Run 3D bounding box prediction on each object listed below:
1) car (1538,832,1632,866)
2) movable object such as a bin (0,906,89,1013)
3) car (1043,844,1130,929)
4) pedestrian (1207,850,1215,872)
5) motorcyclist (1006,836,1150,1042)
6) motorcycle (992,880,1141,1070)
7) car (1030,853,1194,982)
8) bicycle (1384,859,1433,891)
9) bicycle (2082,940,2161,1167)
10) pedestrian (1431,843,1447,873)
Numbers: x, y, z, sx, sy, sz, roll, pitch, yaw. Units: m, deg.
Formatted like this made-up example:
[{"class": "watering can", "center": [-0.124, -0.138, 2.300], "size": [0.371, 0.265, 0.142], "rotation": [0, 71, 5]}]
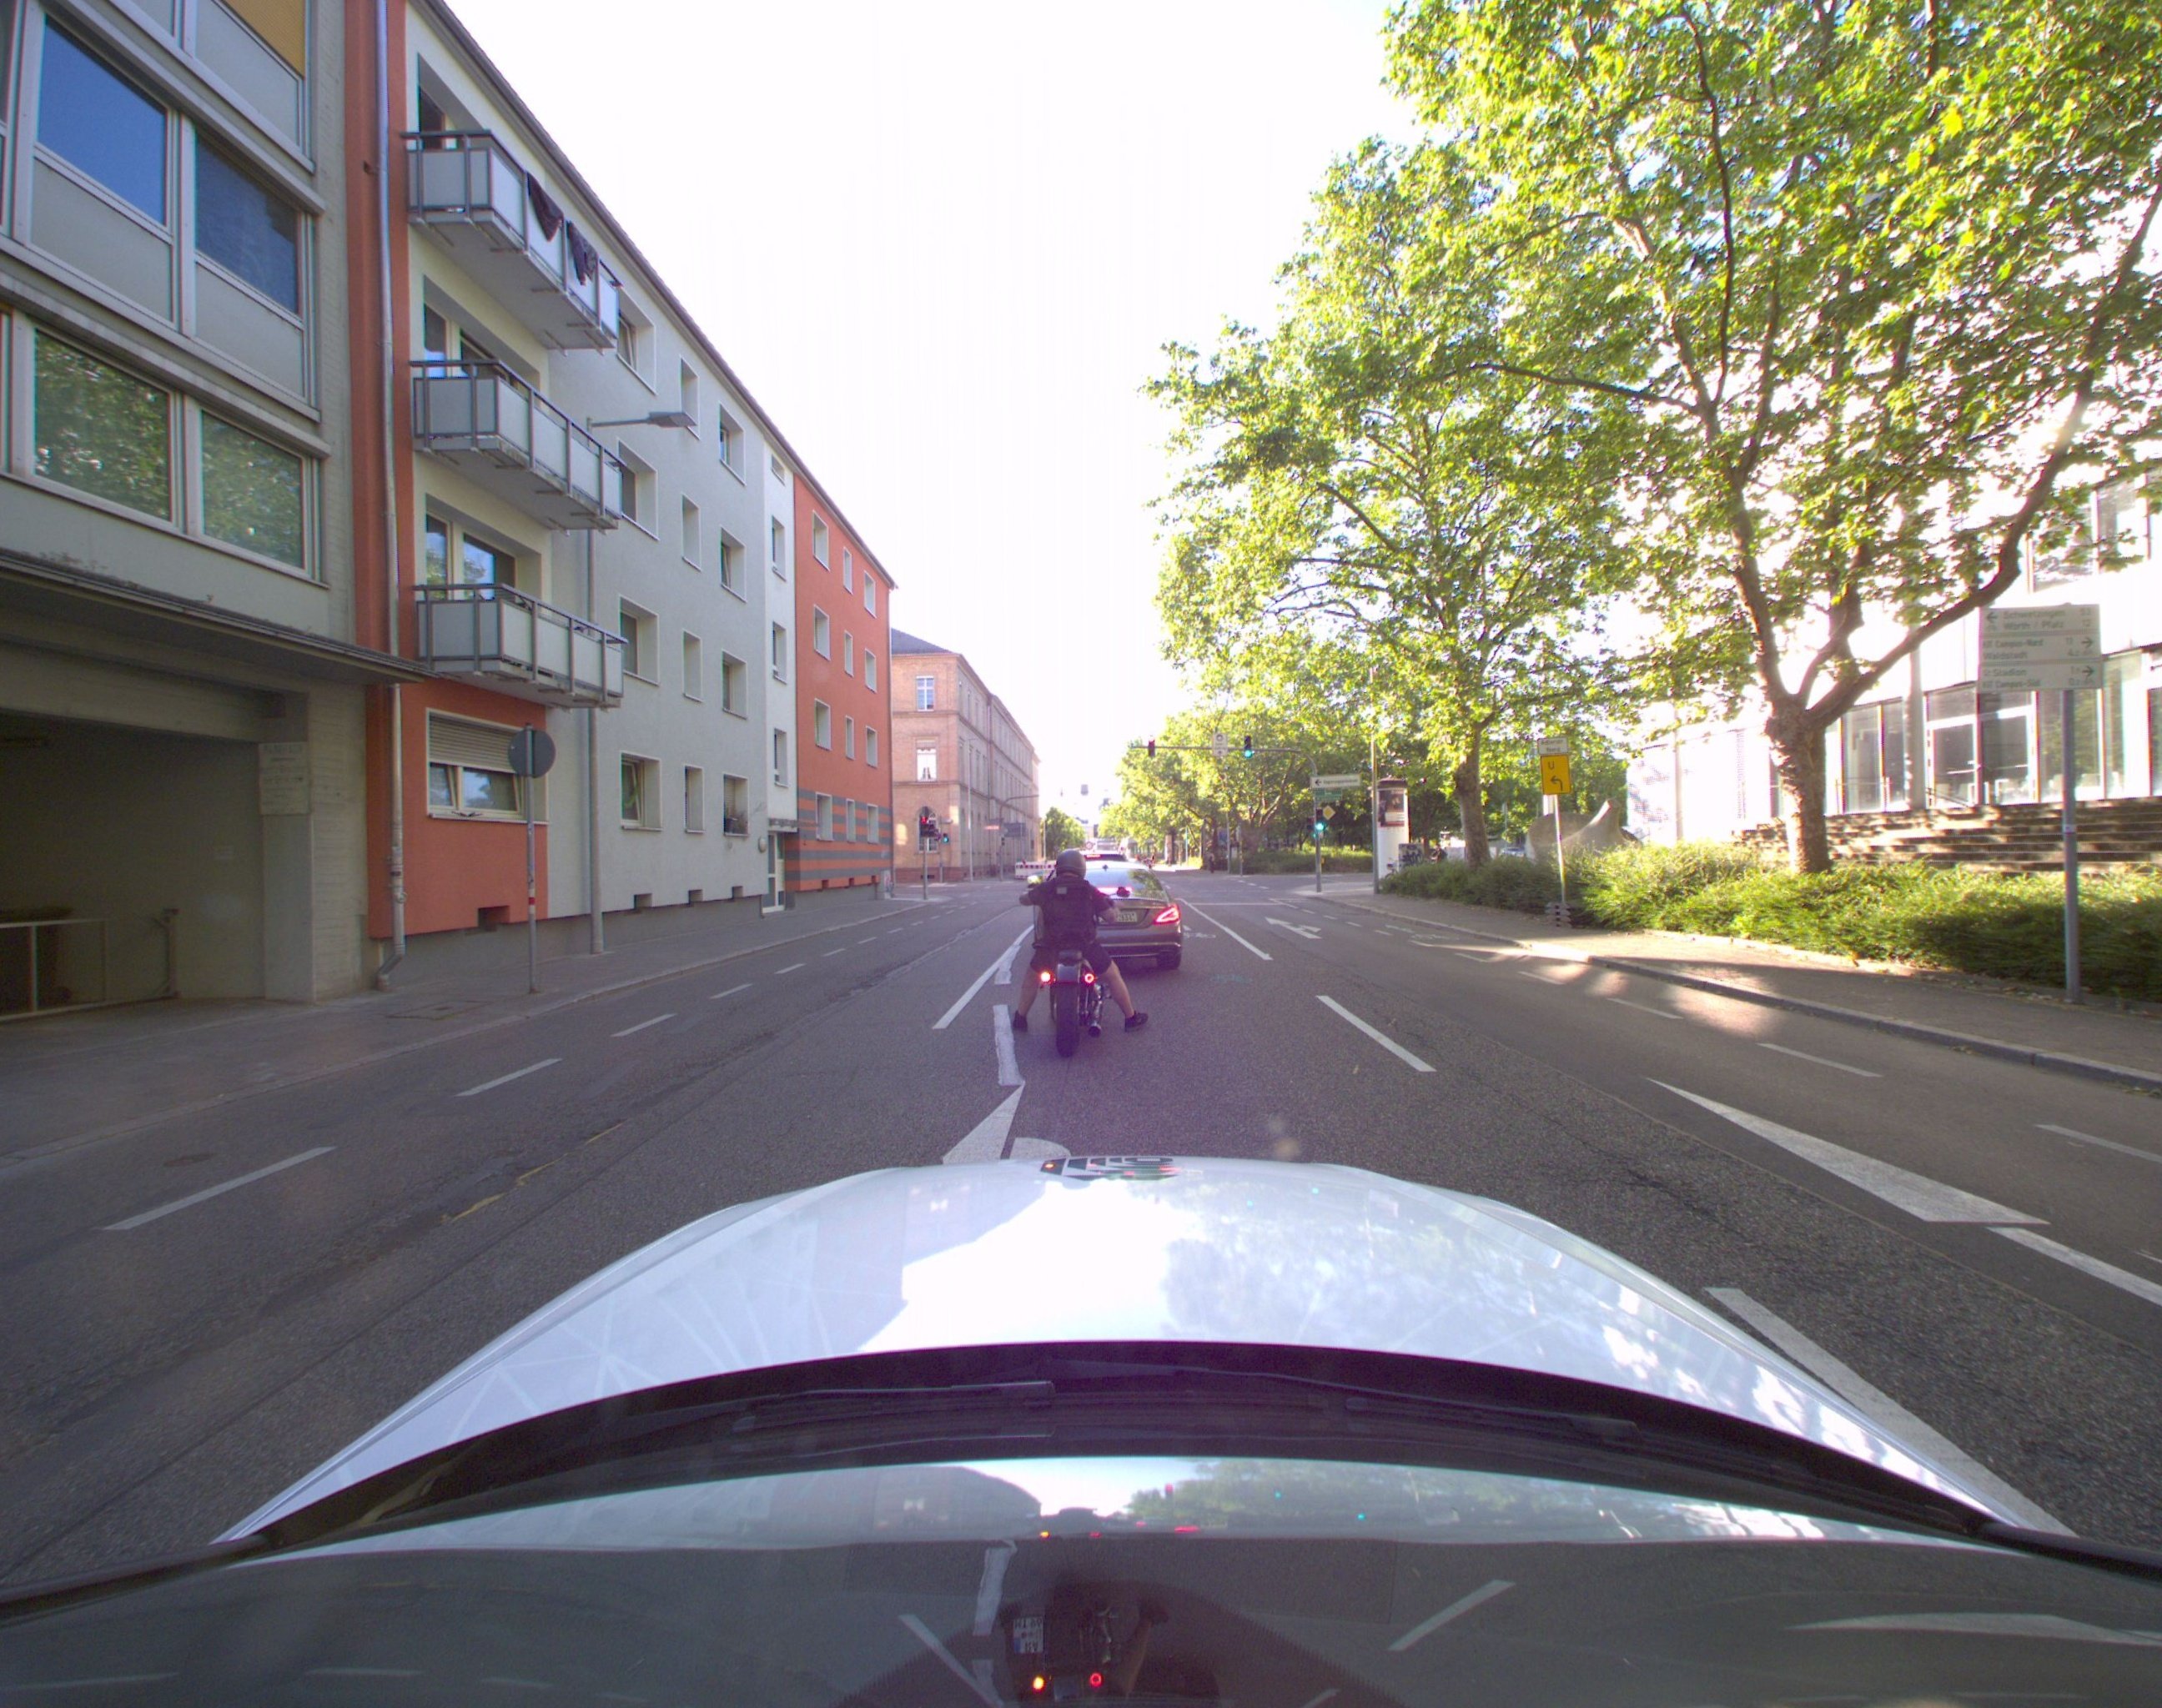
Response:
[{"class": "car", "center": [28.159, -0.258, 45.612], "size": [3.975, 1.784, 2.004], "rotation": [-1, 0, 7]}, {"class": "movable object such as a bin", "center": [-11.274, 1.100, 8.647], "size": [0.584, 1.040, 0.712], "rotation": [-1, 0, 2]}, {"class": "car", "center": [0.133, 0.639, 17.807], "size": [1.676, 1.625, 3.841], "rotation": [-1, 0, 1]}, {"class": "pedestrian", "center": [10.231, 0.536, 64.084], "size": [0.557, 1.678, 0.565], "rotation": [-1, 0, 1]}, {"class": "motorcyclist", "center": [-0.004, 0.674, 7.047], "size": [1.109, 1.613, 1.202], "rotation": [-1, 0, 1]}, {"class": "motorcycle", "center": [-0.058, 0.876, 6.931], "size": [1.003, 1.204, 2.666], "rotation": [-1, 0, 2]}, {"class": "car", "center": [0.240, 0.749, 11.753], "size": [1.818, 1.476, 4.346], "rotation": [-1, 0, -5]}, {"class": "bicycle", "center": [10.979, 0.708, 27.332], "size": [1.411, 1.037, 0.538], "rotation": [-1, 0, -2]}, {"class": "bicycle", "center": [5.349, 0.954, 3.258], "size": [0.608, 1.026, 1.732], "rotation": [0, 0, 2]}, {"class": "pedestrian", "center": [21.071, 0.241, 47.923], "size": [0.617, 1.784, 0.631], "rotation": [-1, 0, 4]}]
